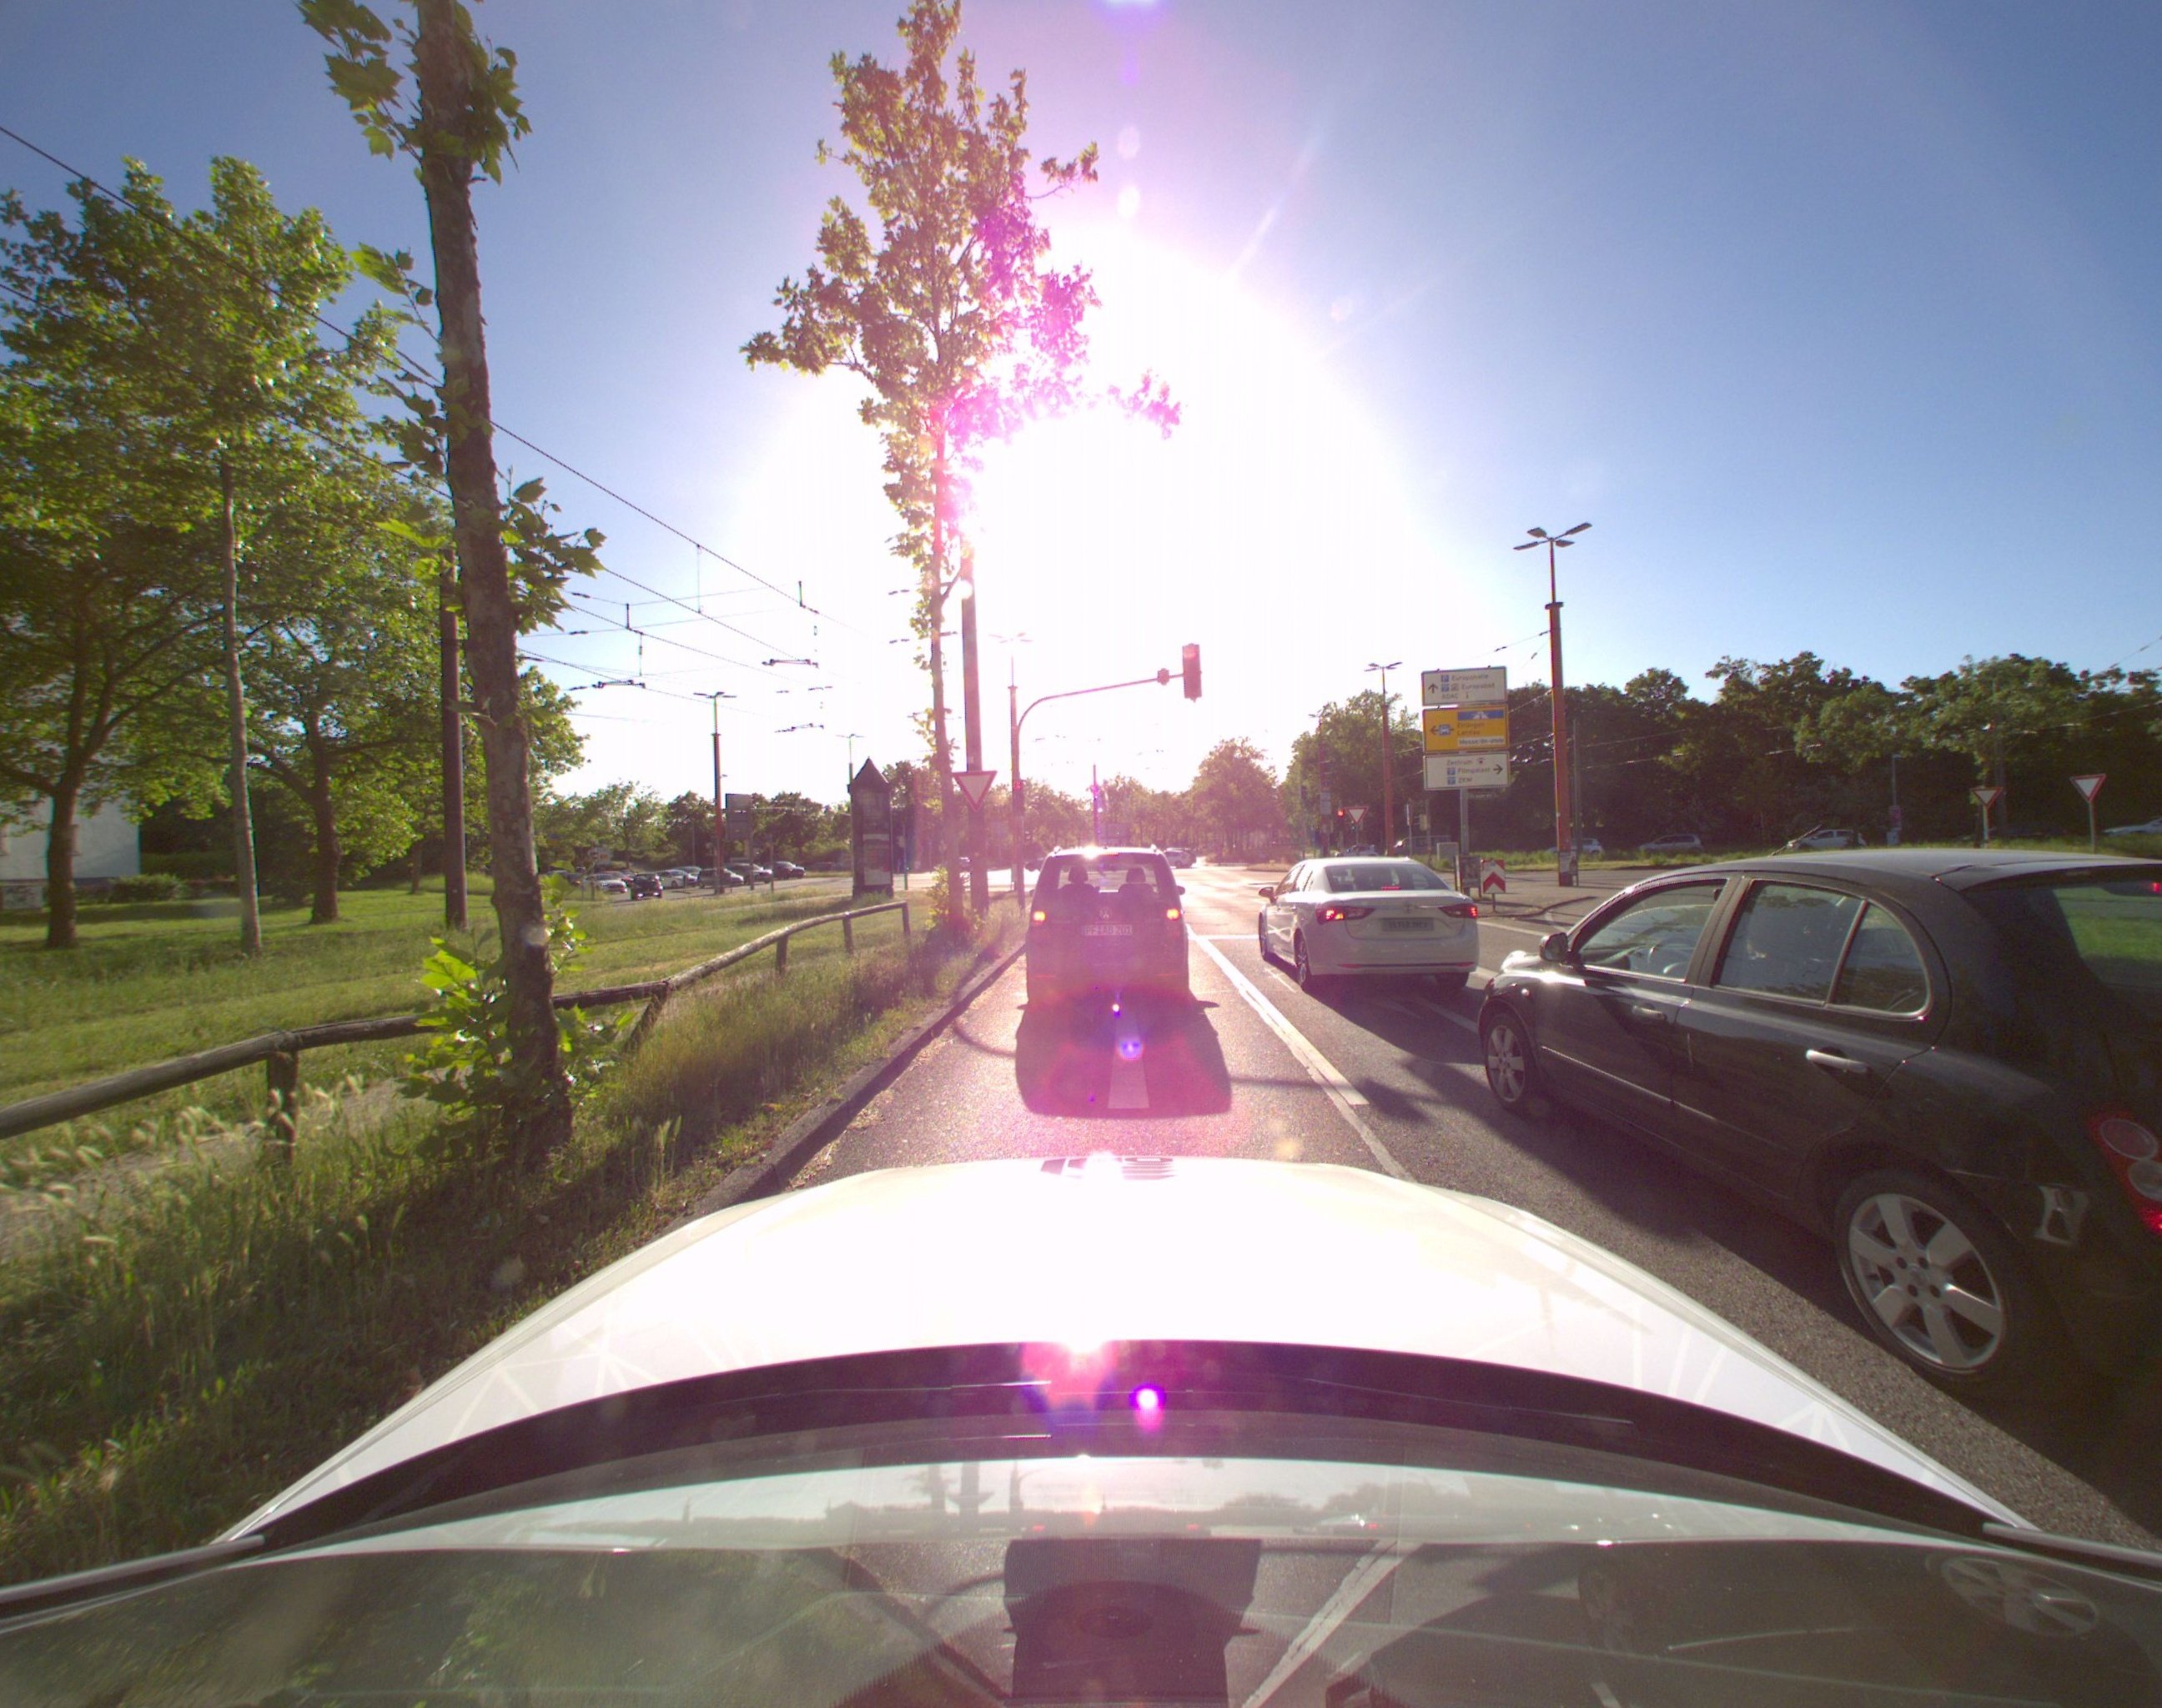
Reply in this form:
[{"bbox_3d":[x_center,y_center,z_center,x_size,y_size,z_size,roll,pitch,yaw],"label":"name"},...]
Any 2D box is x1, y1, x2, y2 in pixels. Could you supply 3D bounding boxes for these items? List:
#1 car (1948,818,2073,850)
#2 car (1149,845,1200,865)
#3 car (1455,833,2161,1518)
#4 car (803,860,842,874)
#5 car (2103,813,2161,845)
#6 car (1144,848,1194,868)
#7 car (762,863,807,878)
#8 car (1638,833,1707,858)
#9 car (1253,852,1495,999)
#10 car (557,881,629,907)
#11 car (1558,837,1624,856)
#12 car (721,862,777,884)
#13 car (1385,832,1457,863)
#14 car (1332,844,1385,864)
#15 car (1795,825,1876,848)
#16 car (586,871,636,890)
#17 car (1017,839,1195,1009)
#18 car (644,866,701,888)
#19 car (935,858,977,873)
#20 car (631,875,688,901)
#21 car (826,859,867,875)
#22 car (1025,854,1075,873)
[{"bbox_3d":[50.299,-1.064,44.179,3.987,1.596,2.012,-2,0,25],"label":"car"},{"bbox_3d":[8.305,0.090,72.254,4.081,1.644,1.863,-2,0,26],"label":"car"},{"bbox_3d":[3.231,0.695,3.572,1.647,1.500,3.617,-1,0,2],"label":"car"},{"bbox_3d":[-29.017,1.453,91.423,4.082,1.511,1.834,0,-1,28],"label":"car"},{"bbox_3d":[58.221,-1.373,43.498,4.188,1.681,1.713,-2,0,32],"label":"car"},{"bbox_3d":[7.366,0.342,68.136,3.783,1.523,1.705,-2,0,27],"label":"car"},{"bbox_3d":[-26.529,1.478,72.844,3.948,1.330,1.709,-2,0,33],"label":"car"},{"bbox_3d":[37.362,-0.544,51.536,3.362,1.457,1.474,-2,0,28],"label":"car"},{"bbox_3d":[3.327,0.709,10.138,1.713,1.438,4.202,-1,0,3],"label":"car"},{"bbox_3d":[-35.899,2.957,59.911,4.788,1.731,2.010,-2,0,21],"label":"car"},{"bbox_3d":[35.290,-0.531,56.467,3.792,1.264,1.613,0,-1,28],"label":"car"},{"bbox_3d":[-26.628,1.543,65.300,3.950,1.644,2.012,-2,0,26],"label":"car"},{"bbox_3d":[24.594,-0.455,59.011,4.526,2.013,2.013,-2,0,30],"label":"car"},{"bbox_3d":[21.801,0.024,64.053,3.700,1.473,1.610,-2,0,28],"label":"car"},{"bbox_3d":[46.469,-1.067,50.230,3.403,1.368,1.298,0,-1,29],"label":"car"},{"bbox_3d":[-39.381,2.251,68.229,3.949,1.513,1.743,-2,0,27],"label":"car"},{"bbox_3d":[0.297,0.688,9.930,1.694,1.621,3.898,-2,0,1],"label":"car"},{"bbox_3d":[-32.469,1.826,64.695,4.135,1.612,1.880,-2,0,27],"label":"car"},{"bbox_3d":[-12.710,1.168,82.703,3.927,1.441,1.696,0,-1,26],"label":"car"},{"bbox_3d":[-24.870,1.978,48.184,1.791,1.390,2.850,-2,0,2],"label":"car"},{"bbox_3d":[-24.629,1.395,85.564,4.139,1.644,1.770,0,-1,28],"label":"car"},{"bbox_3d":[-2.774,0.864,73.577,4.080,1.598,1.840,-2,0,29],"label":"car"}]
